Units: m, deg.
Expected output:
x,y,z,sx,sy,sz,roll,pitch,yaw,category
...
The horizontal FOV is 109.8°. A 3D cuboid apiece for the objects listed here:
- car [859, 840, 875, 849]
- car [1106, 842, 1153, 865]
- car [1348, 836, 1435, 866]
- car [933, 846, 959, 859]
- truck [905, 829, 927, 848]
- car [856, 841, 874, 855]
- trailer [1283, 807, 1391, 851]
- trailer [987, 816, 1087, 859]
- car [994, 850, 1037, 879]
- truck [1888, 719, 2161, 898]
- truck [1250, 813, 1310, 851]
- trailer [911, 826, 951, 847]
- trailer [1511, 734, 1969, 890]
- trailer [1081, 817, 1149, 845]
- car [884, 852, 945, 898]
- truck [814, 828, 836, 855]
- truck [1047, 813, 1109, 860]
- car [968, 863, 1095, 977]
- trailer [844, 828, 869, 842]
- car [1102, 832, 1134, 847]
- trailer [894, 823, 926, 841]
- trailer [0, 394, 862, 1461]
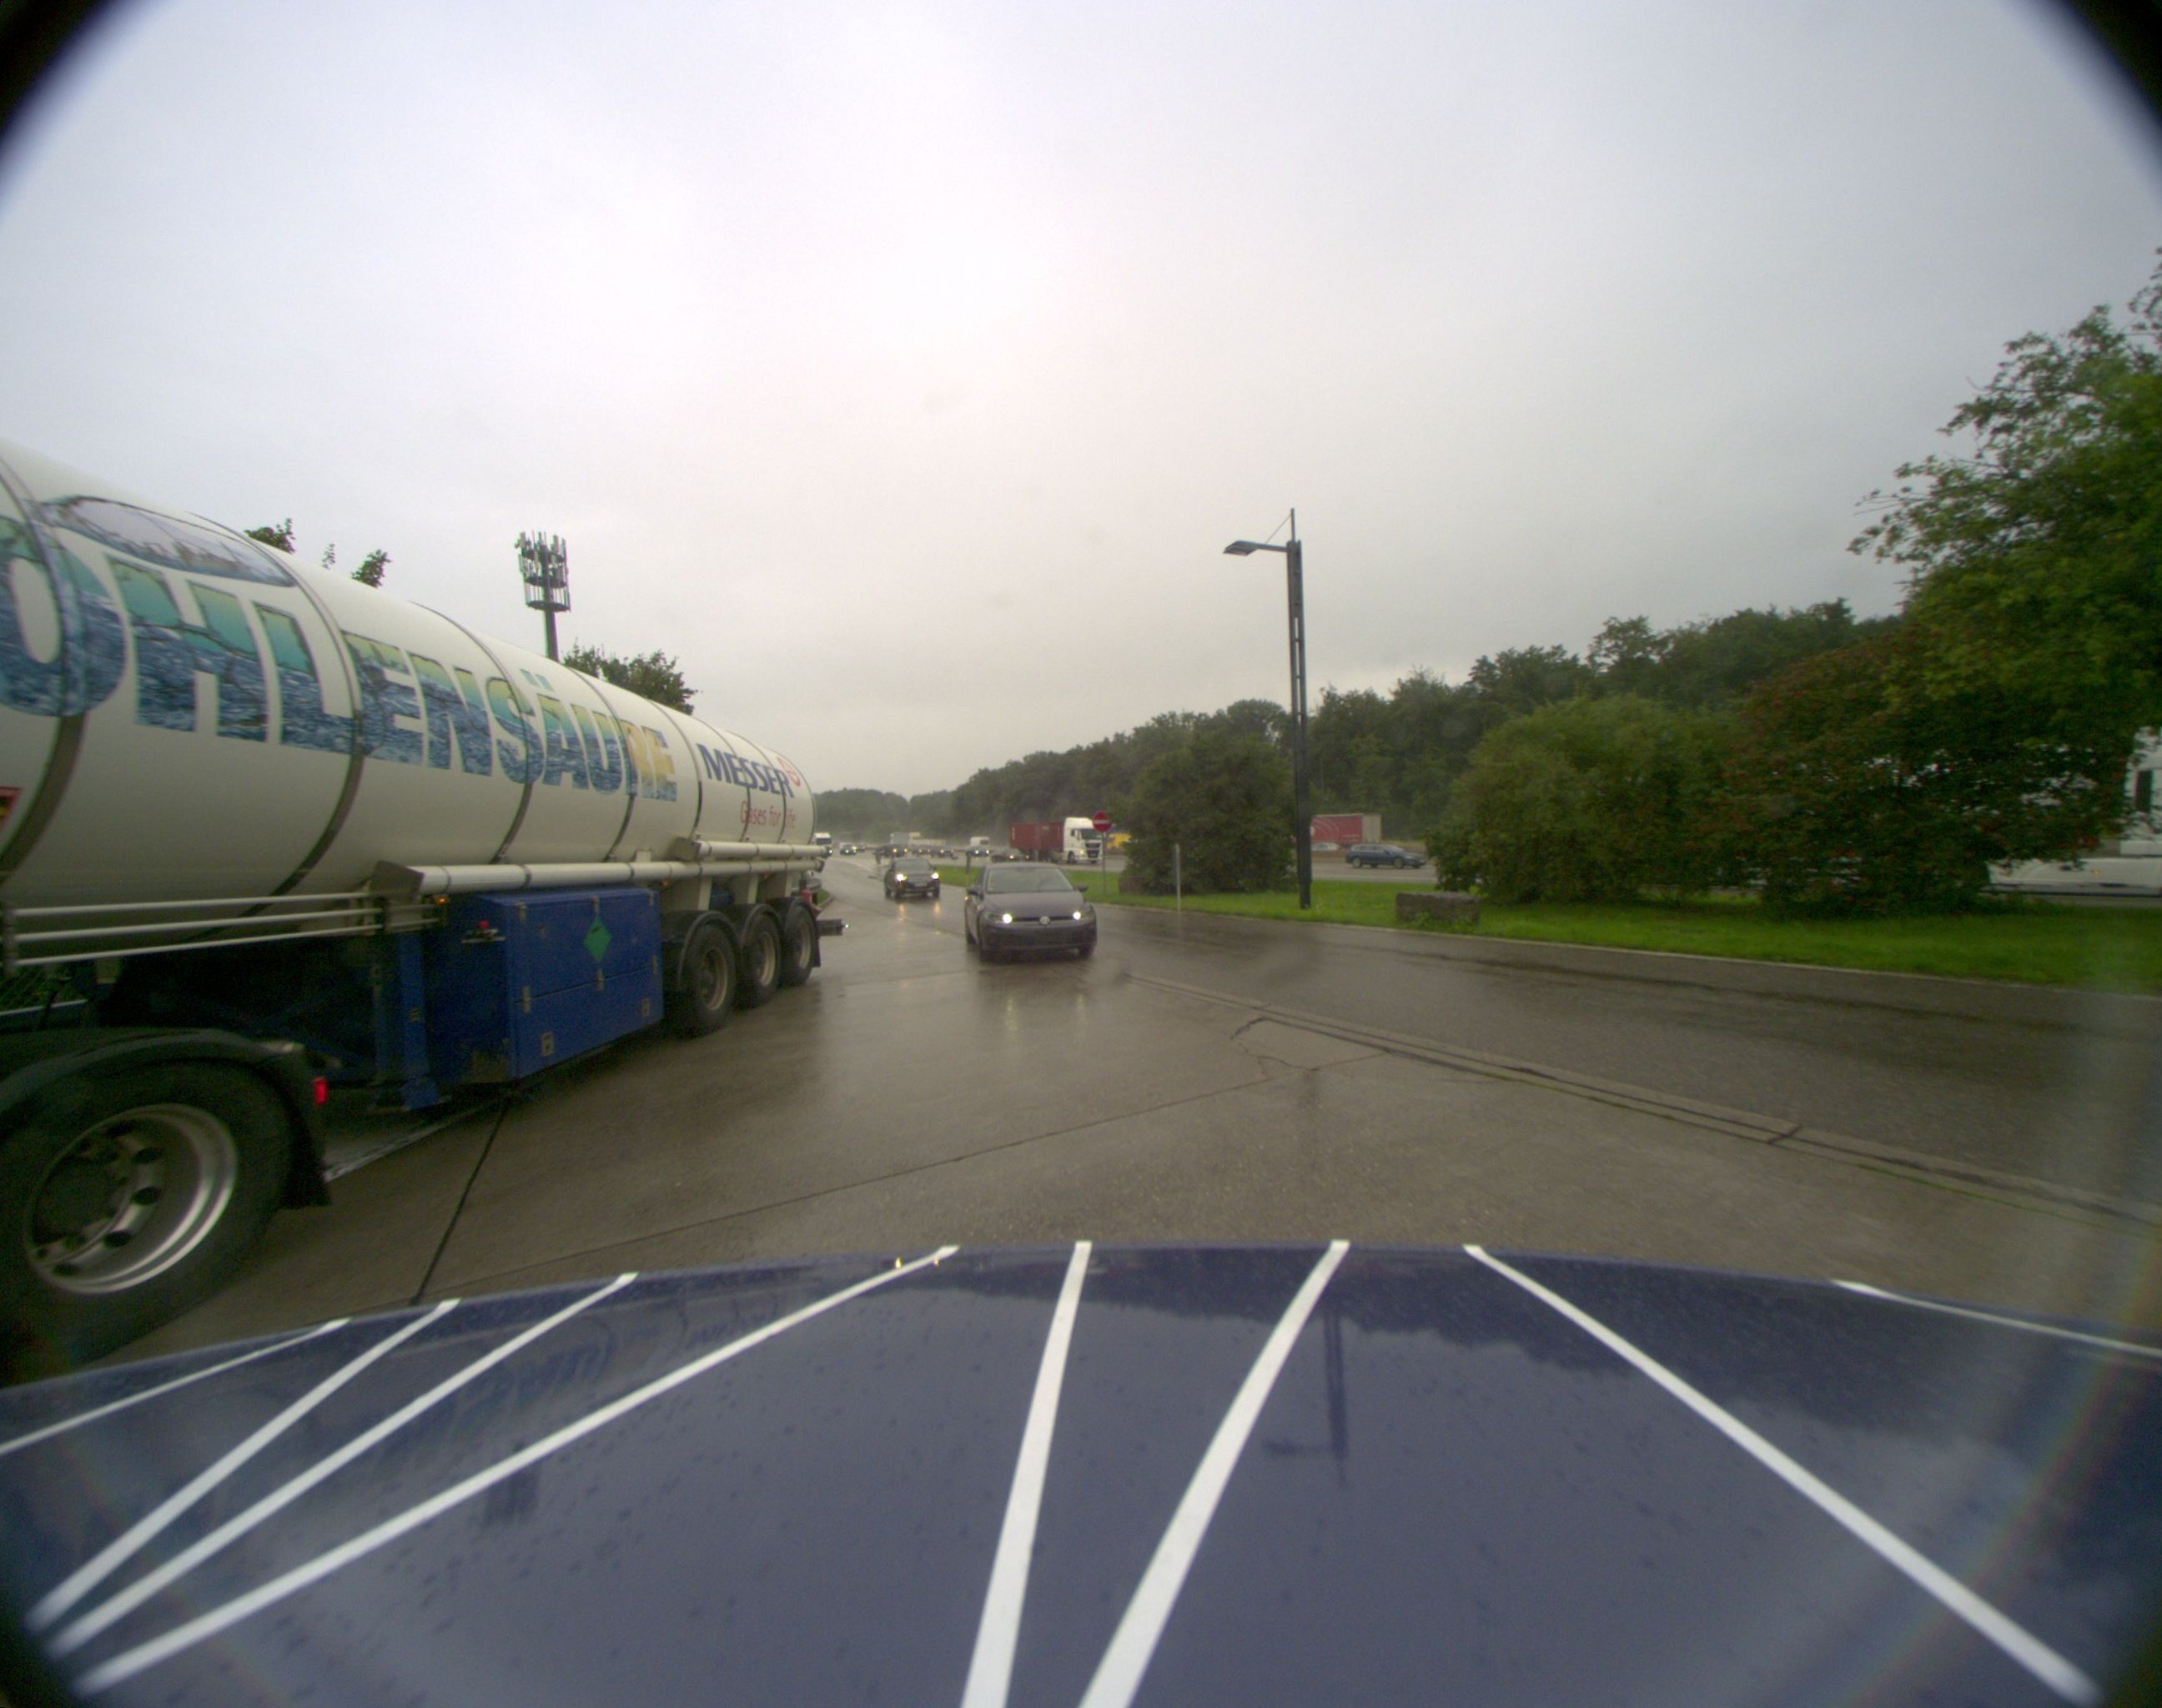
x,y,z,sx,sy,sz,roll,pitch,yaw,category
-43.692,-1.938,154.985,2.003,1.802,3.990,-2,1,-31,car
4.864,-0.083,77.115,2.002,2.003,5.566,-5,4,-28,car
17.937,-0.152,44.068,1.827,1.659,4.393,-2,0,-34,car
-18.100,-0.211,101.722,1.791,1.550,4.088,-3,0,-34,car
-36.354,-3.408,167.315,2.634,3.650,5.978,-7,3,-32,truck
-36.665,-1.099,129.032,1.920,2.004,3.989,-9,7,-27,car
24.744,-2.341,74.232,2.467,3.594,10.715,-7,3,-31,trailer
-4.547,-1.542,72.616,2.695,3.487,15.087,-7,4,-30,trailer
-5.710,0.881,65.493,1.920,2.004,3.989,-10,7,-31,car
24.671,-1.036,18.497,2.764,3.985,6.491,-2,1,-34,truck
21.026,-2.268,80.571,2.451,3.600,5.787,-7,3,-31,truck
-31.732,-3.570,160.074,2.627,3.660,14.637,-7,3,-32,trailer
20.427,-1.114,24.912,2.776,4.003,11.013,-1,1,-33,trailer
4.563,-3.147,107.091,2.199,3.479,13.099,-7,4,-33,trailer
-7.078,0.835,32.025,1.813,1.533,3.992,-7,4,-20,car
-43.127,-2.085,128.141,2.601,4.122,5.219,-6,3,-24,truck
-0.311,-1.511,65.416,2.701,3.637,5.312,-7,4,-30,truck
-0.990,0.930,12.607,1.671,1.394,4.258,-3,1,-9,car
-69.810,-5.787,235.855,3.042,3.791,13.374,-5,3,-35,trailer
4.800,-1.892,98.327,2.002,1.806,4.404,-5,3,-29,car
-42.059,-5.351,186.336,2.736,3.519,14.027,-8,3,-32,trailer
-4.372,0.181,6.708,1.985,3.206,10.318,-3,1,-2,trailer
